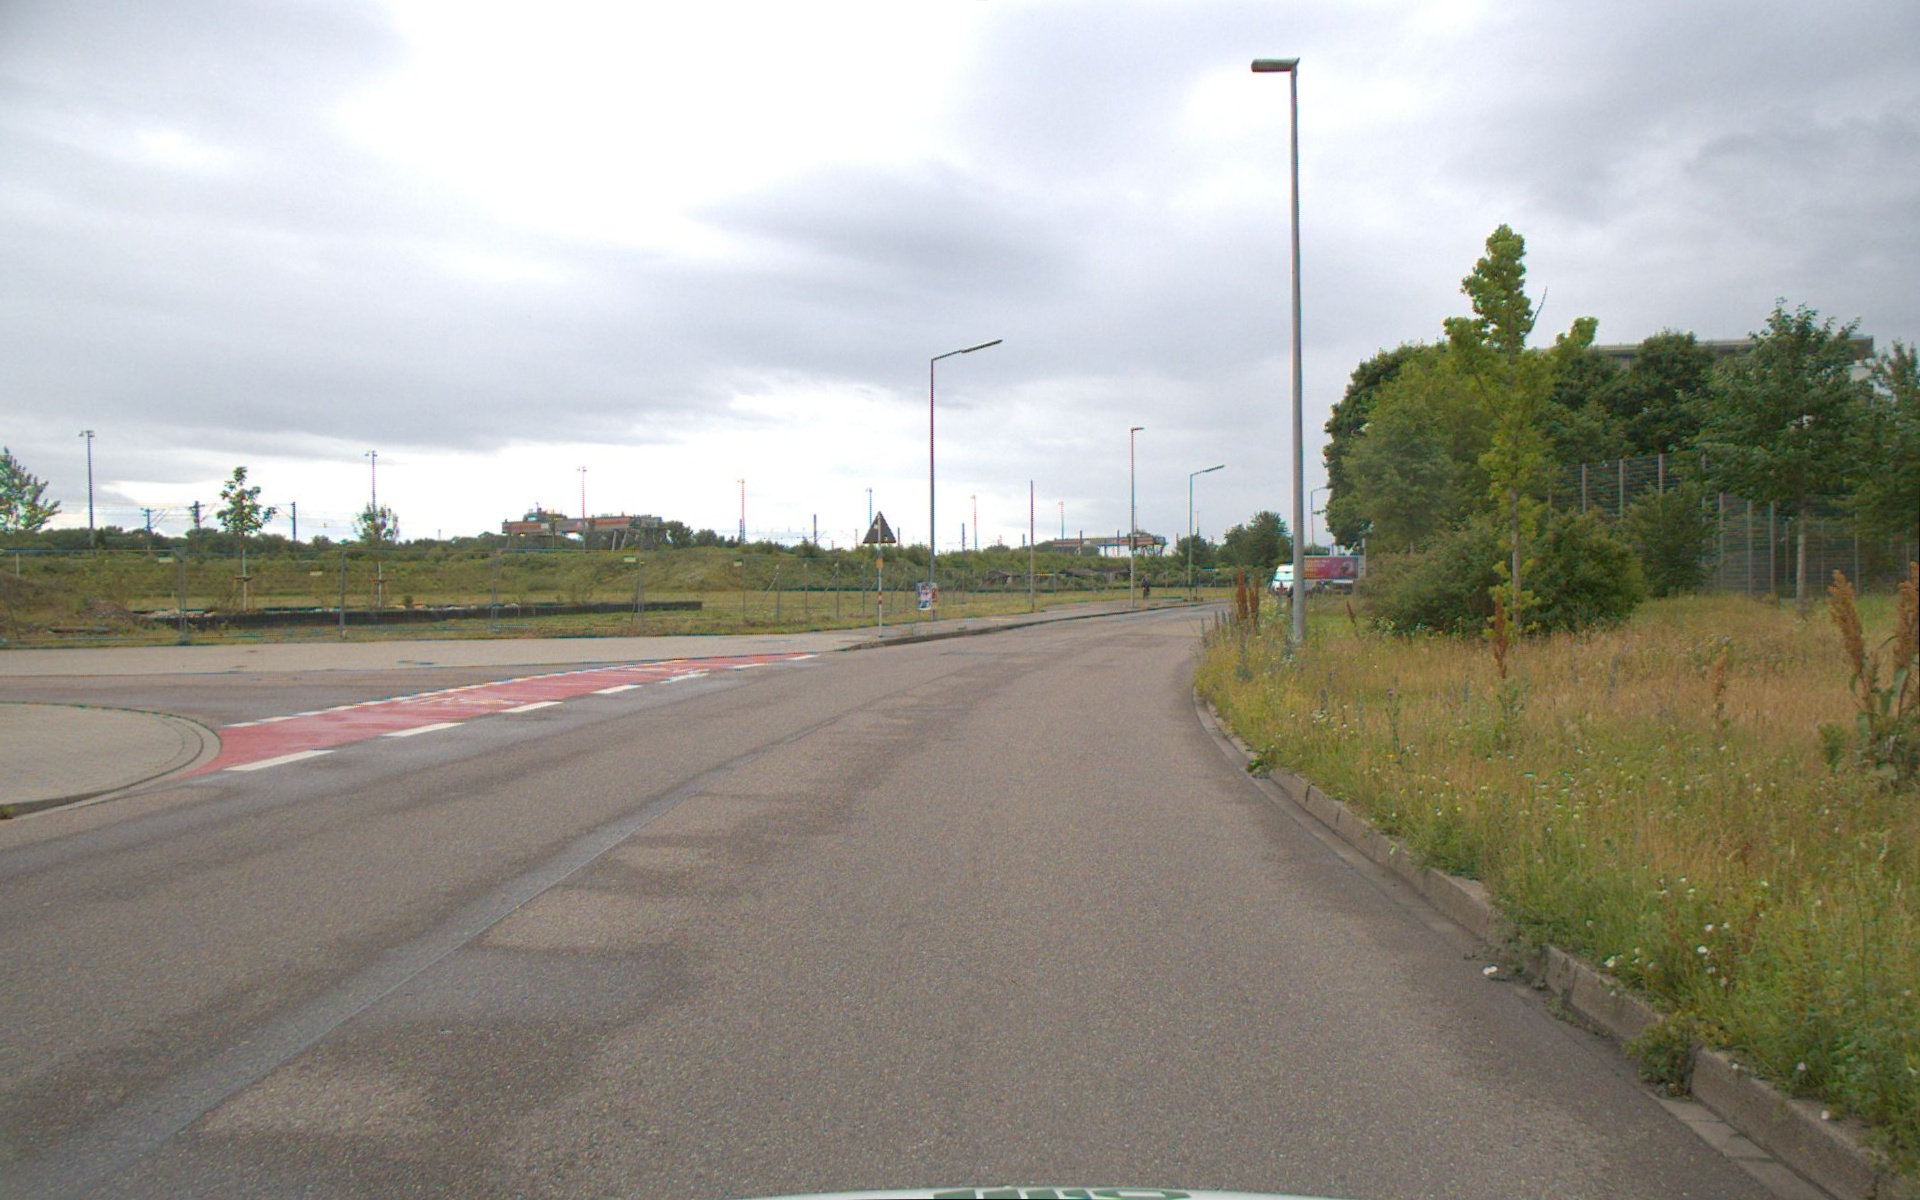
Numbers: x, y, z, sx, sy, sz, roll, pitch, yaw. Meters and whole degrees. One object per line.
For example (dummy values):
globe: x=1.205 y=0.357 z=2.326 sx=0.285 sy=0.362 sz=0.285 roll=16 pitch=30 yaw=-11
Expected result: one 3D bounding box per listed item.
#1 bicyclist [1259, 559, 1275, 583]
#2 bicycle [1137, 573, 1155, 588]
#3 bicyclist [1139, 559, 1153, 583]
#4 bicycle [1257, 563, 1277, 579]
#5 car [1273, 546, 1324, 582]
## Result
bicyclist: x=24.313 y=-2.279 z=131.057 sx=0.812 sy=1.853 sz=1.328 roll=0 pitch=2 yaw=29
bicycle: x=12.040 y=-1.291 z=107.101 sx=0.786 sy=0.923 sz=2.234 roll=0 pitch=2 yaw=16
bicyclist: x=12.043 y=-1.874 z=107.109 sx=0.765 sy=1.553 sz=1.095 roll=0 pitch=1 yaw=16
bicycle: x=24.324 y=-2.298 z=131.104 sx=0.803 sy=1.225 sz=2.553 roll=0 pitch=2 yaw=28
car: x=26.030 y=-2.792 z=127.142 sx=2.244 sy=2.600 sz=6.404 roll=-1 pitch=1 yaw=27
